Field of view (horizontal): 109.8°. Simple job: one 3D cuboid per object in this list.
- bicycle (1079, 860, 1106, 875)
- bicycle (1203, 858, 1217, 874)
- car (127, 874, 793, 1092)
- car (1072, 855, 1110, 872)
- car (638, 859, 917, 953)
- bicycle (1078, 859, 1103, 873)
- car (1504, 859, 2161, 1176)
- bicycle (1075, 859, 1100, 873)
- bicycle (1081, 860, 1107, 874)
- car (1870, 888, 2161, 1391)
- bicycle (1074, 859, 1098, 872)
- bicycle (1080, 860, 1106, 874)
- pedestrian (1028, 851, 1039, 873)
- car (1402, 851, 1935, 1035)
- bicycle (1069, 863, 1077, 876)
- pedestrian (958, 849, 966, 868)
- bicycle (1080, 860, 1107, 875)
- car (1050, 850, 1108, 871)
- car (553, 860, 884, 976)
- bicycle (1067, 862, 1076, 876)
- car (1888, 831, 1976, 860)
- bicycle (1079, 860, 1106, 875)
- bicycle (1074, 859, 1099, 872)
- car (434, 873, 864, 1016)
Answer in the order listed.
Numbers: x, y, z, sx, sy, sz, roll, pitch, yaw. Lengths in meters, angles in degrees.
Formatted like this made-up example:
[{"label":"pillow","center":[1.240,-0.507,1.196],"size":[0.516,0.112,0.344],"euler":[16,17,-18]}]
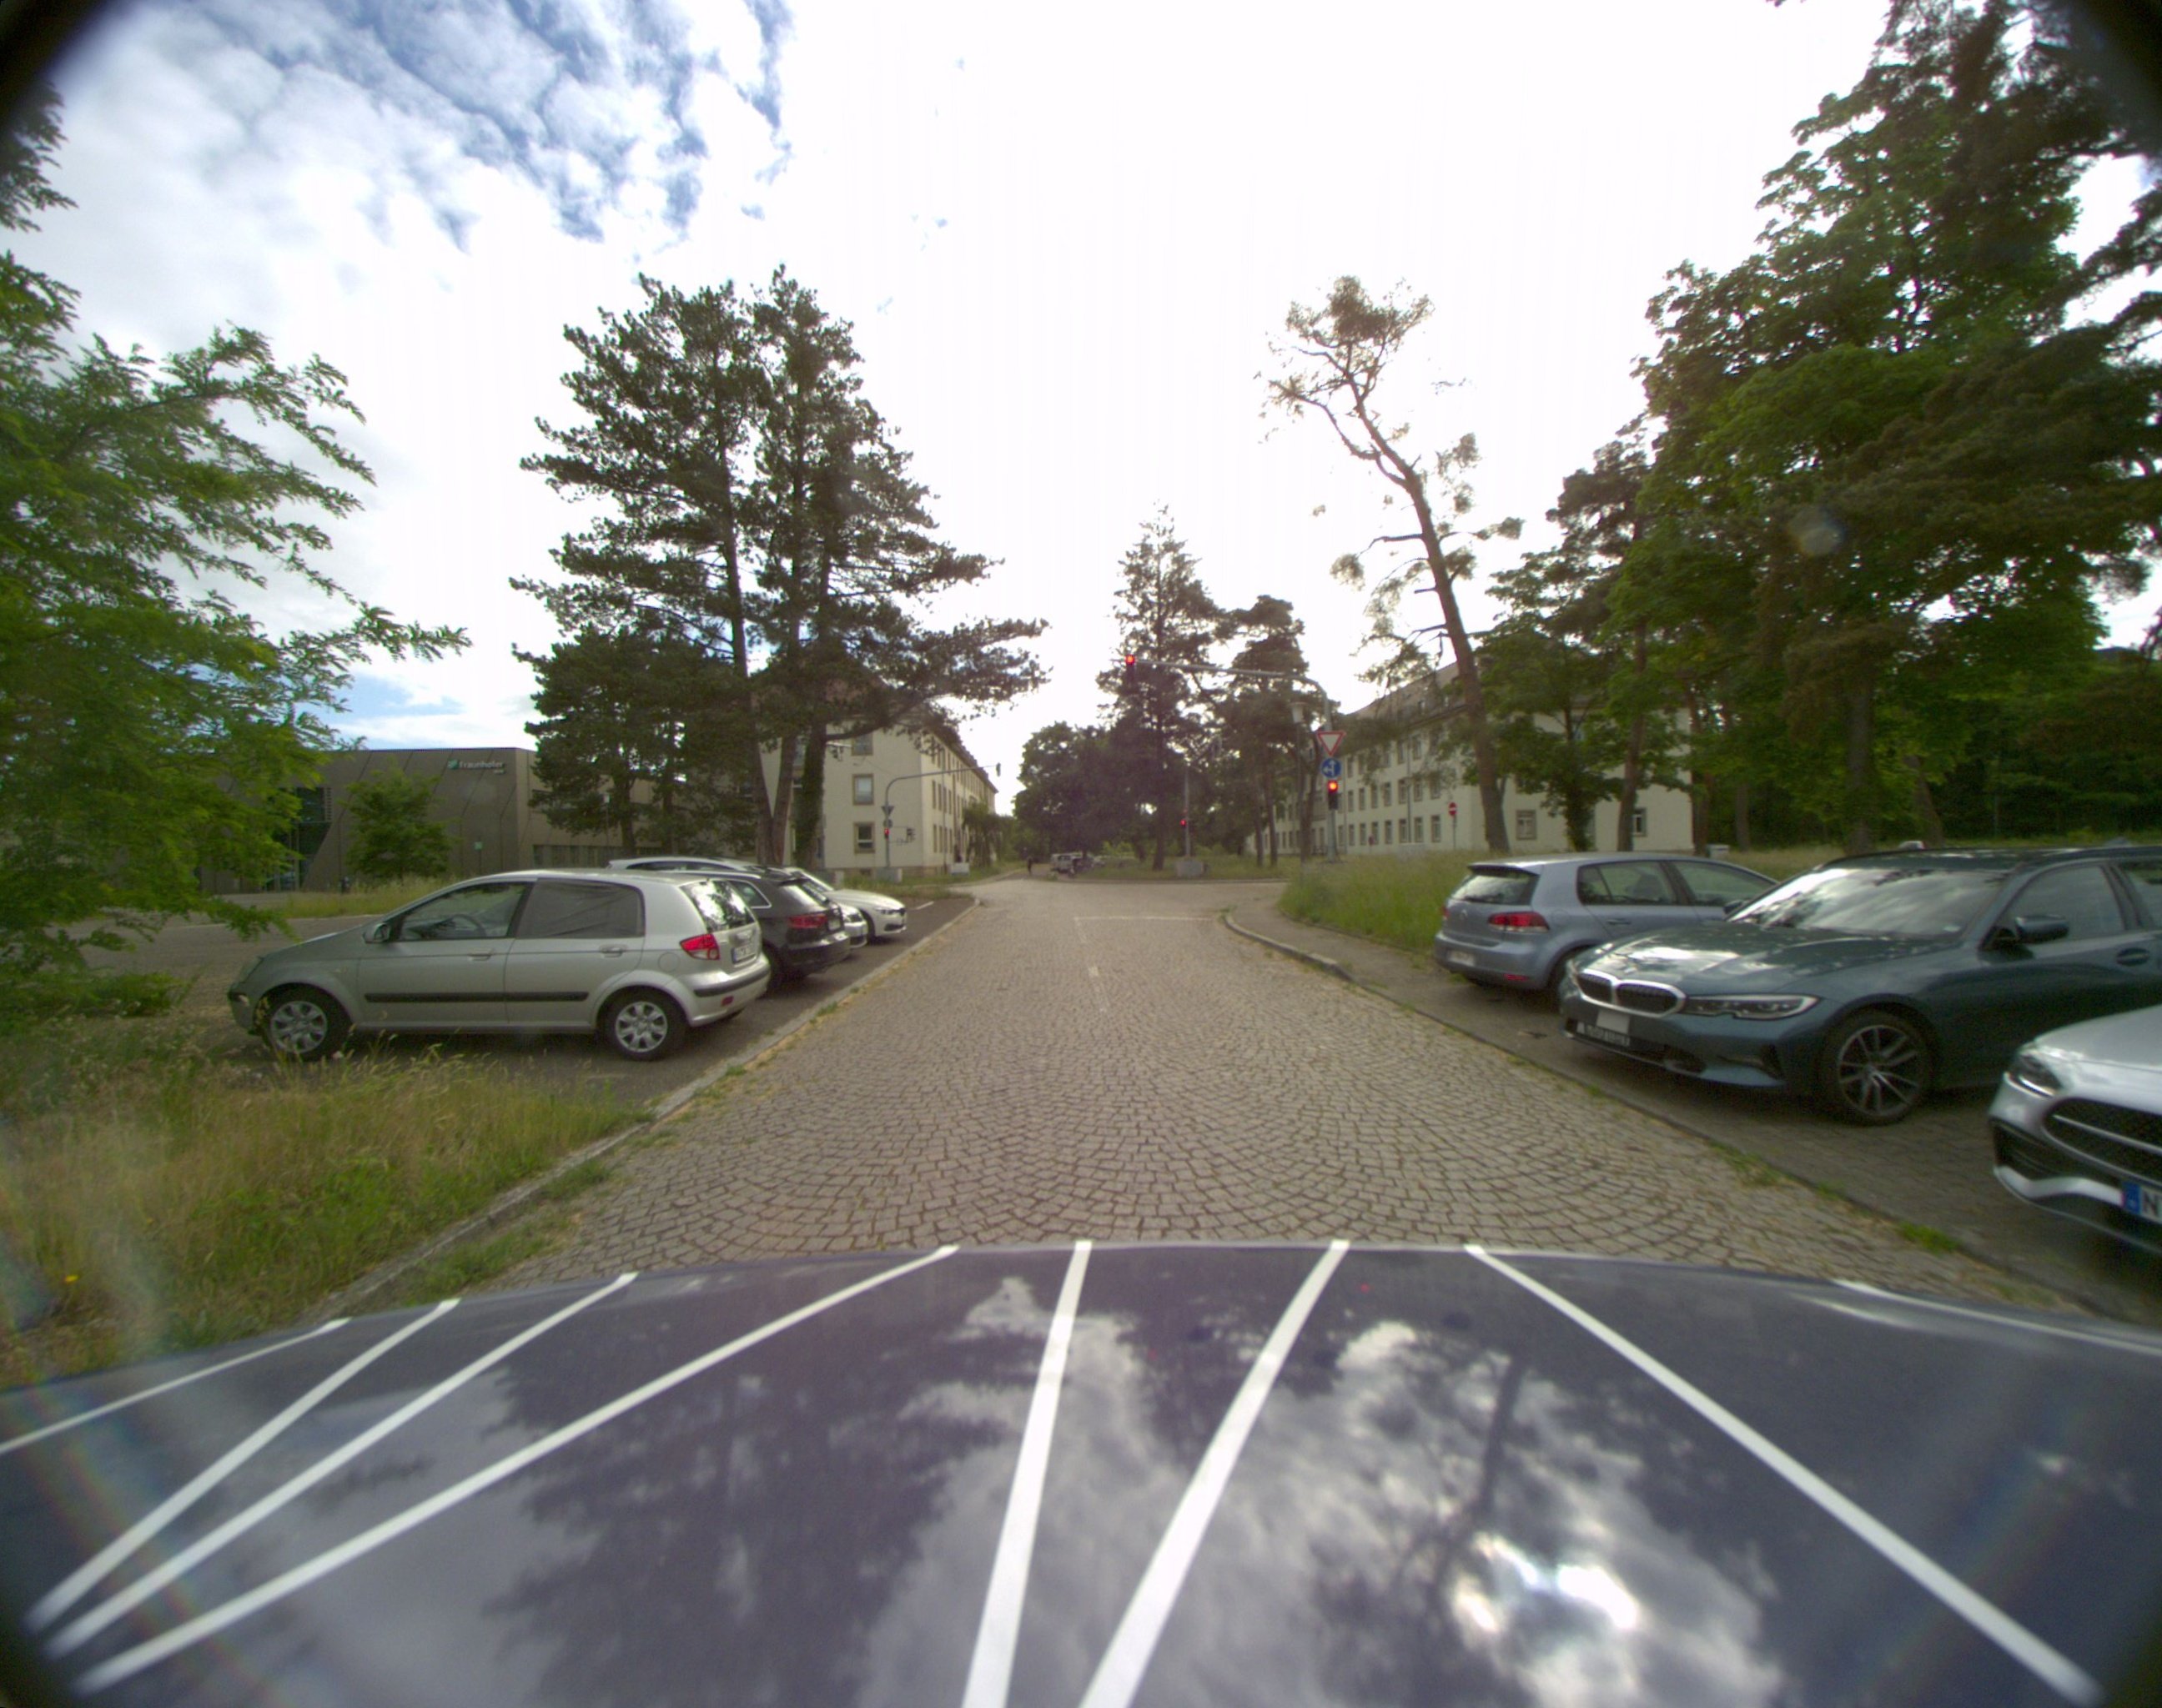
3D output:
[{"label":"bicycle","center":[0.841,1.022,56.413],"size":[1.899,1.059,0.616],"euler":[-1,1,-3]},{"label":"bicycle","center":[7.481,0.710,44.022],"size":[0.294,0.911,1.052],"euler":[-2,0,-23]},{"label":"car","center":[-4.853,0.994,6.492],"size":[4.085,1.506,1.803],"euler":[2,0,-4]},{"label":"car","center":[0.886,0.862,71.213],"size":[3.440,1.440,1.913],"euler":[-1,0,-3]},{"label":"car","center":[-5.571,0.942,14.451],"size":[4.506,1.556,1.904],"euler":[2,0,-4]},{"label":"bicycle","center":[0.733,0.968,59.749],"size":[1.951,1.059,0.562],"euler":[-1,1,-3]},{"label":"car","center":[5.483,0.856,5.093],"size":[4.263,1.539,1.935],"euler":[-1,0,-5]},{"label":"bicycle","center":[0.523,0.954,60.997],"size":[1.951,1.059,0.562],"euler":[-1,1,-3]},{"label":"bicycle","center":[1.009,0.992,58.150],"size":[1.951,1.059,0.562],"euler":[-1,1,-3]},{"label":"car","center":[5.547,0.877,2.350],"size":[4.386,1.499,1.935],"euler":[-1,0,-4]},{"label":"bicycle","center":[0.432,0.926,62.999],"size":[1.951,1.059,0.562],"euler":[-1,1,-3]},{"label":"bicycle","center":[0.908,0.986,58.633],"size":[1.951,1.059,0.562],"euler":[-1,1,-3]},{"label":"pedestrian","center":[-4.202,0.705,66.668],"size":[0.589,1.926,0.791],"euler":[-2,1,-35]},{"label":"car","center":[5.670,0.780,7.719],"size":[3.998,1.534,1.905],"euler":[-1,0,-3]},{"label":"bicycle","center":[-0.545,1.067,52.949],"size":[0.459,0.903,1.663],"euler":[-1,0,2]},{"label":"pedestrian","center":[-11.184,0.419,71.477],"size":[0.568,1.691,0.532],"euler":[-1,1,2]},{"label":"bicycle","center":[0.944,1.003,57.501],"size":[1.951,1.059,0.562],"euler":[-1,1,-3]},{"label":"car","center":[-0.203,0.625,74.815],"size":[5.367,1.987,2.289],"euler":[-1,0,-10]},{"label":"car","center":[-5.435,0.946,11.902],"size":[4.252,1.587,1.884],"euler":[2,0,-5]},{"label":"bicycle","center":[-0.685,1.059,54.767],"size":[0.459,0.968,1.663],"euler":[-1,0,7]},{"label":"car","center":[57.500,-0.560,51.386],"size":[3.997,1.796,1.722],"euler":[-1,0,1]},{"label":"bicycle","center":[0.879,0.989,56.969],"size":[1.951,1.104,0.562],"euler":[-1,1,-3]},{"label":"bicycle","center":[0.444,0.935,62.399],"size":[1.951,1.059,0.562],"euler":[-1,1,-3]},{"label":"car","center":[-4.923,1.021,9.200],"size":[4.085,1.444,1.884],"euler":[2,0,-4]}]
